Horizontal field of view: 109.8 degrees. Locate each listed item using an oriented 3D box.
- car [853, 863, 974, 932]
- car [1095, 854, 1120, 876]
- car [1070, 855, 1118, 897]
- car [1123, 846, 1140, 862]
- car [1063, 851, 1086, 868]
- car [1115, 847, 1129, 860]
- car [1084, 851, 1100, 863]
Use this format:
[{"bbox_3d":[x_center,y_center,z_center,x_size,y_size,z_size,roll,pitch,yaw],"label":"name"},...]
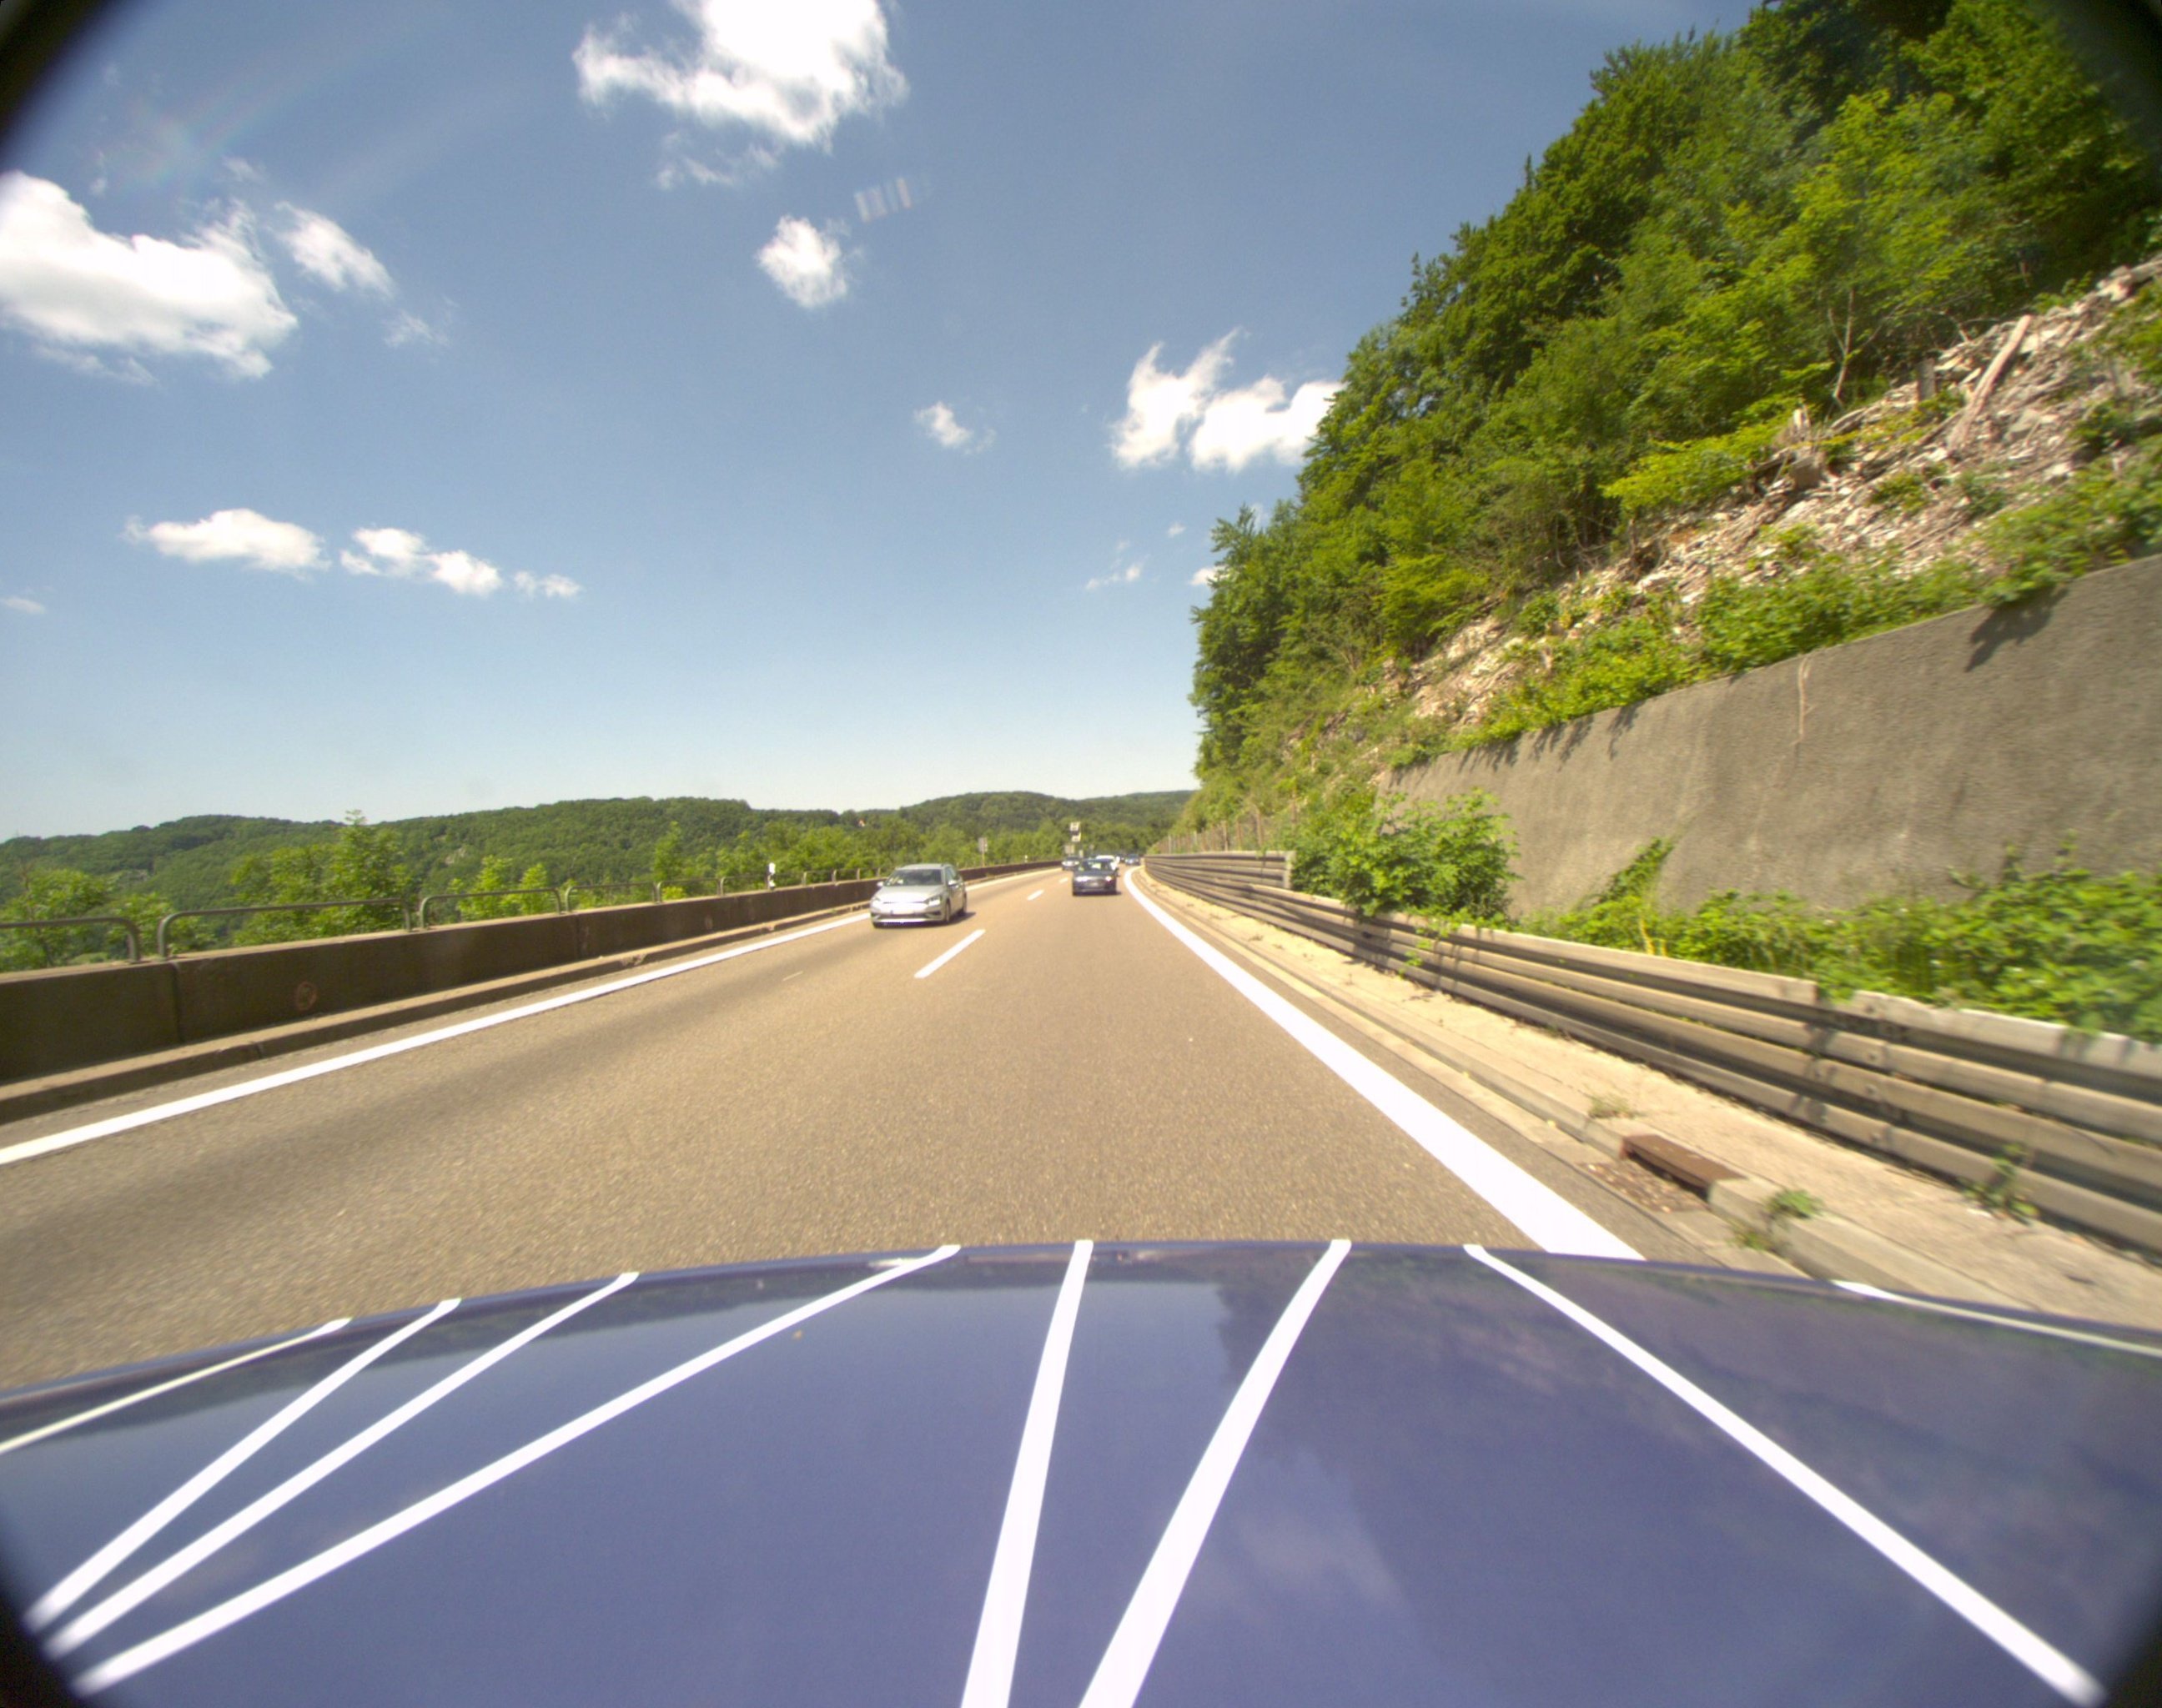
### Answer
[{"bbox_3d":[-4.054,1.009,19.185,1.972,1.370,4.293,-2,1,1],"label":"car"},{"bbox_3d":[1.913,0.778,54.334,1.703,1.432,4.044,0,1,4],"label":"car"},{"bbox_3d":[0.545,0.817,29.945,1.669,1.415,4.044,-3,1,2],"label":"car"},{"bbox_3d":[6.622,0.006,98.782,1.998,2.002,4.001,-2,0,6],"label":"car"},{"bbox_3d":[-0.643,0.534,78.377,1.875,1.565,4.001,-2,0,5],"label":"car"},{"bbox_3d":[6.200,-0.105,115.449,1.998,2.002,4.001,0,1,5],"label":"car"},{"bbox_3d":[1.427,0.388,98.826,1.775,1.565,4.001,-2,0,4],"label":"car"}]
